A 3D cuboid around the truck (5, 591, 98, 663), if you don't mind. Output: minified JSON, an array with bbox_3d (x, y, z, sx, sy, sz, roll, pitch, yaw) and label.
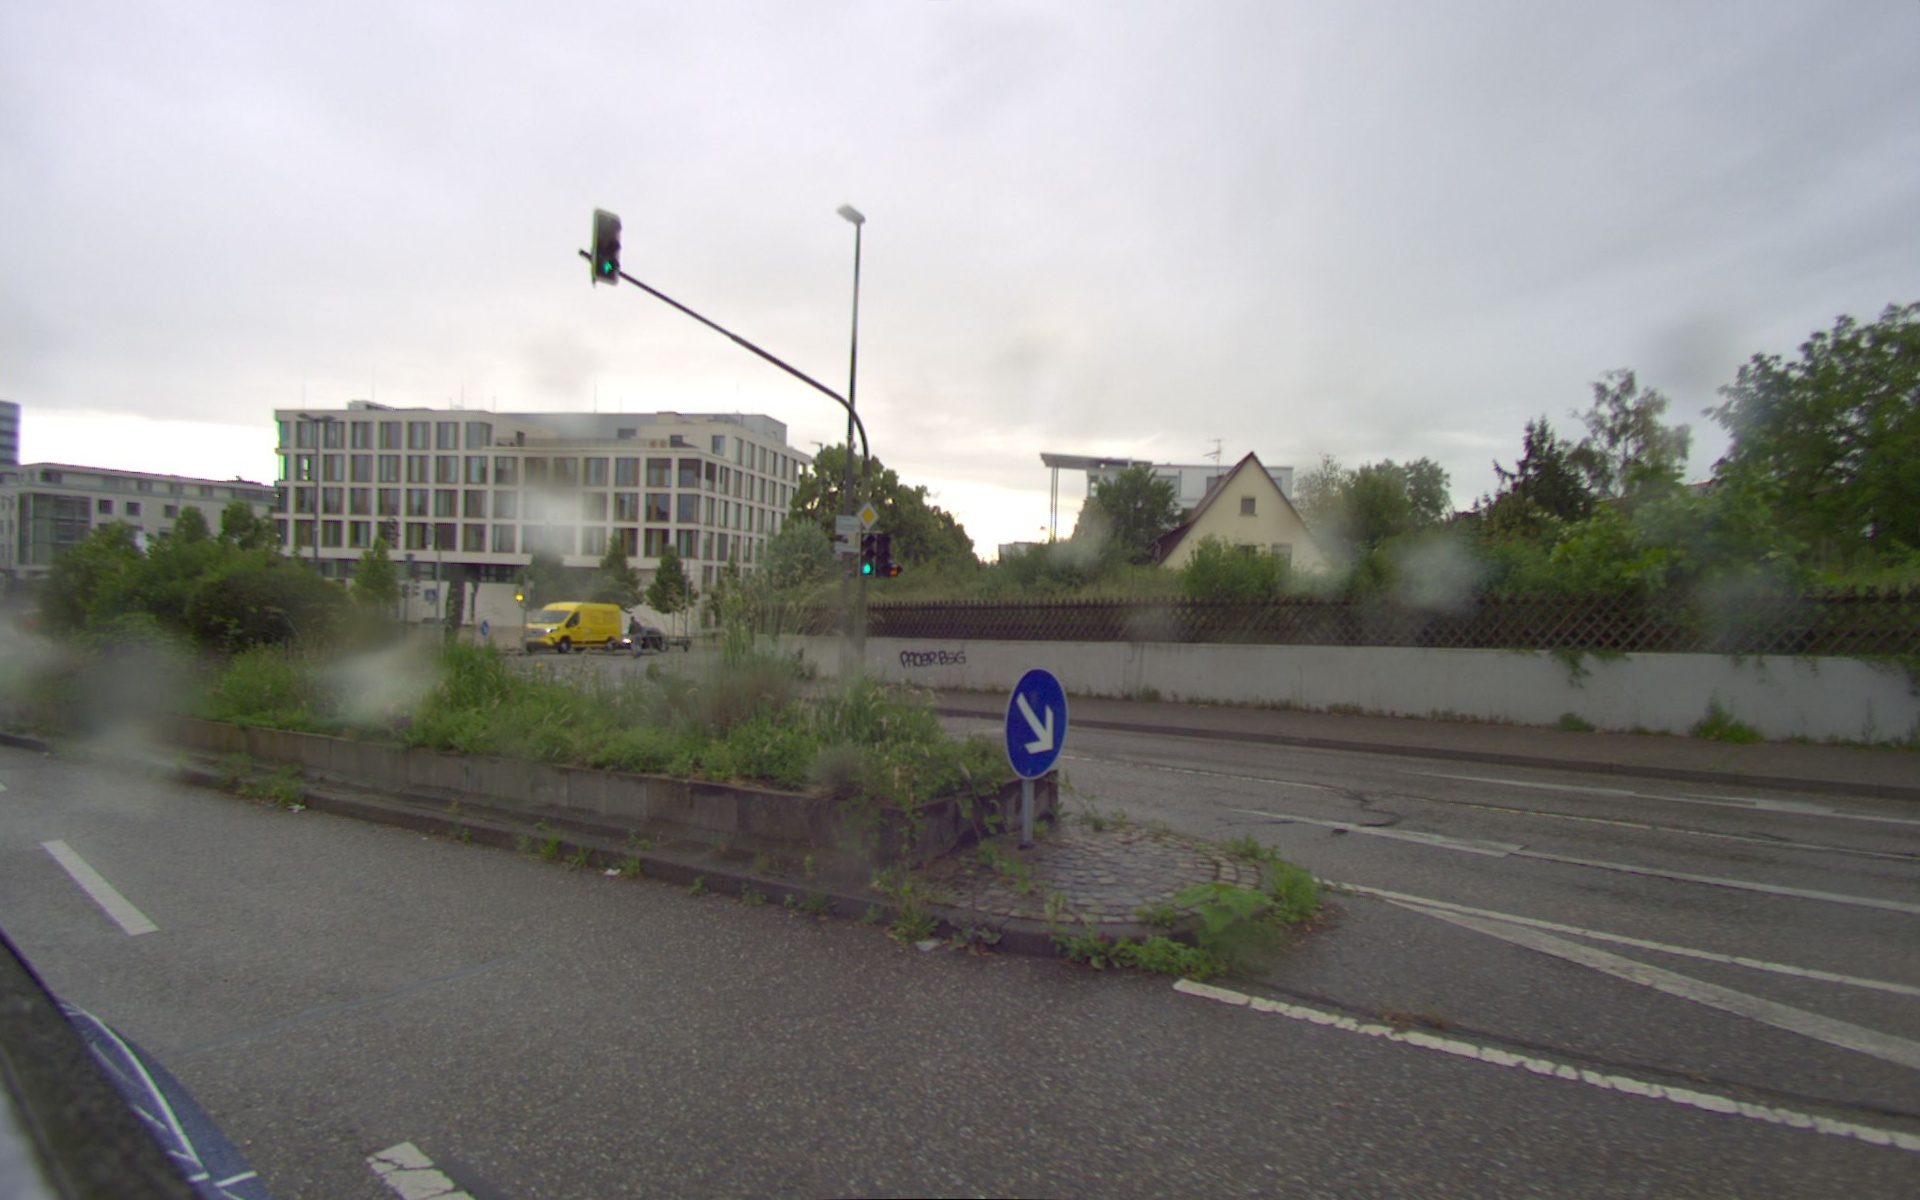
[{"bbox_3d":[-33.933,0.939,37.729,6.202,2.458,2.139,0,0,44],"label":"truck"}]

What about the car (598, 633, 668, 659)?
[{"bbox_3d":[-18.278,2.550,56.764,1.845,1.327,4.341,2,-2,10],"label":"car"}]

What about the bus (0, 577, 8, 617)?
[{"bbox_3d":[-104.487,-0.493,104.299,18.130,4.025,2.927,1,-2,26],"label":"bus"}]

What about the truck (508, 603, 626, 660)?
[{"bbox_3d":[-19.005,1.563,49.377,2.206,2.557,6.149,1,-2,13],"label":"truck"}]

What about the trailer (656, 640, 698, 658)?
[{"bbox_3d":[-17.134,2.955,61.274,1.591,0.986,2.278,2,-2,11],"label":"trailer"}]

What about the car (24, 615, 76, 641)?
[{"bbox_3d":[-54.652,1.639,60.768,4.431,1.424,1.972,0,-1,43],"label":"car"}]
